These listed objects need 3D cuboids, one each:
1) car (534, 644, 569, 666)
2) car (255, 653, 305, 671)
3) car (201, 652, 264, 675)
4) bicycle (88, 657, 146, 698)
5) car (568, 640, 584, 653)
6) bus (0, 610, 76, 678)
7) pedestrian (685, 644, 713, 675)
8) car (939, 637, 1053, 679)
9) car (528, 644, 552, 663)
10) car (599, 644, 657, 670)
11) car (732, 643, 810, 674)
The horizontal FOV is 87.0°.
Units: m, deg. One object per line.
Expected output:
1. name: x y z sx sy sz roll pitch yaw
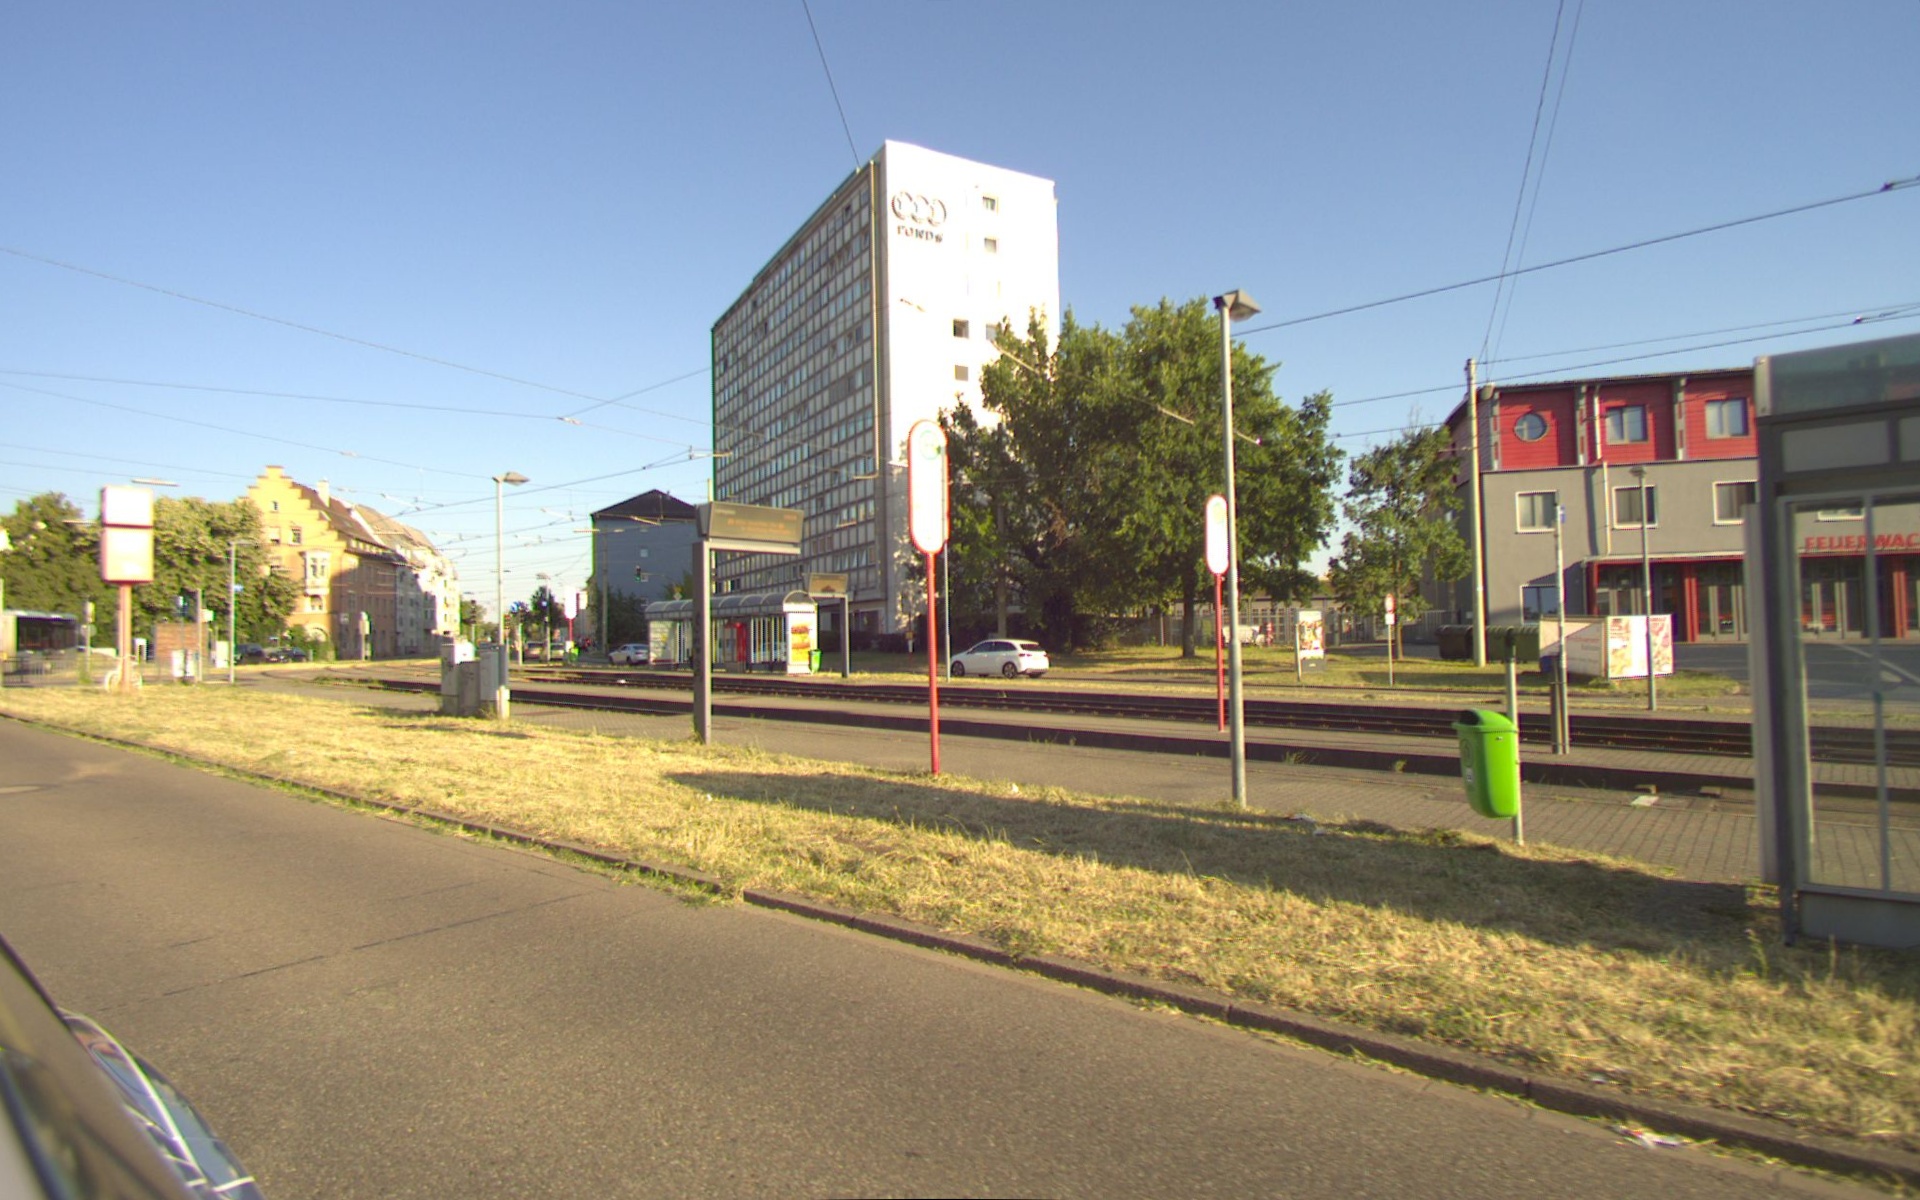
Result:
1. car: -29.594 3.971 73.289 1.712 1.485 4.141 0 -3 -31
2. car: -56.497 5.148 84.161 1.716 1.425 3.981 -1 -2 -4
3. car: -50.832 4.403 70.764 1.716 1.485 3.981 -1 -2 -4
4. bicycle: -21.815 1.995 26.233 0.597 1.001 1.752 0 -2 -21
5. car: -53.376 6.463 140.740 1.850 1.701 4.142 0 -2 -19
6. bus: -45.363 2.058 47.759 2.568 3.048 8.887 1 -2 -21
7. pedestrian: -11.073 2.526 42.906 0.661 1.277 0.943 -1 -2 36
8. car: 1.387 2.310 40.179 4.435 1.560 1.718 -3 -3 42
9. car: -35.766 4.530 86.067 1.850 1.485 4.142 0 -2 -23
10. car: -20.013 3.451 60.969 1.716 1.485 4.132 1 -3 -44
11. car: -9.538 2.950 50.921 4.128 1.485 1.718 -3 -3 42
